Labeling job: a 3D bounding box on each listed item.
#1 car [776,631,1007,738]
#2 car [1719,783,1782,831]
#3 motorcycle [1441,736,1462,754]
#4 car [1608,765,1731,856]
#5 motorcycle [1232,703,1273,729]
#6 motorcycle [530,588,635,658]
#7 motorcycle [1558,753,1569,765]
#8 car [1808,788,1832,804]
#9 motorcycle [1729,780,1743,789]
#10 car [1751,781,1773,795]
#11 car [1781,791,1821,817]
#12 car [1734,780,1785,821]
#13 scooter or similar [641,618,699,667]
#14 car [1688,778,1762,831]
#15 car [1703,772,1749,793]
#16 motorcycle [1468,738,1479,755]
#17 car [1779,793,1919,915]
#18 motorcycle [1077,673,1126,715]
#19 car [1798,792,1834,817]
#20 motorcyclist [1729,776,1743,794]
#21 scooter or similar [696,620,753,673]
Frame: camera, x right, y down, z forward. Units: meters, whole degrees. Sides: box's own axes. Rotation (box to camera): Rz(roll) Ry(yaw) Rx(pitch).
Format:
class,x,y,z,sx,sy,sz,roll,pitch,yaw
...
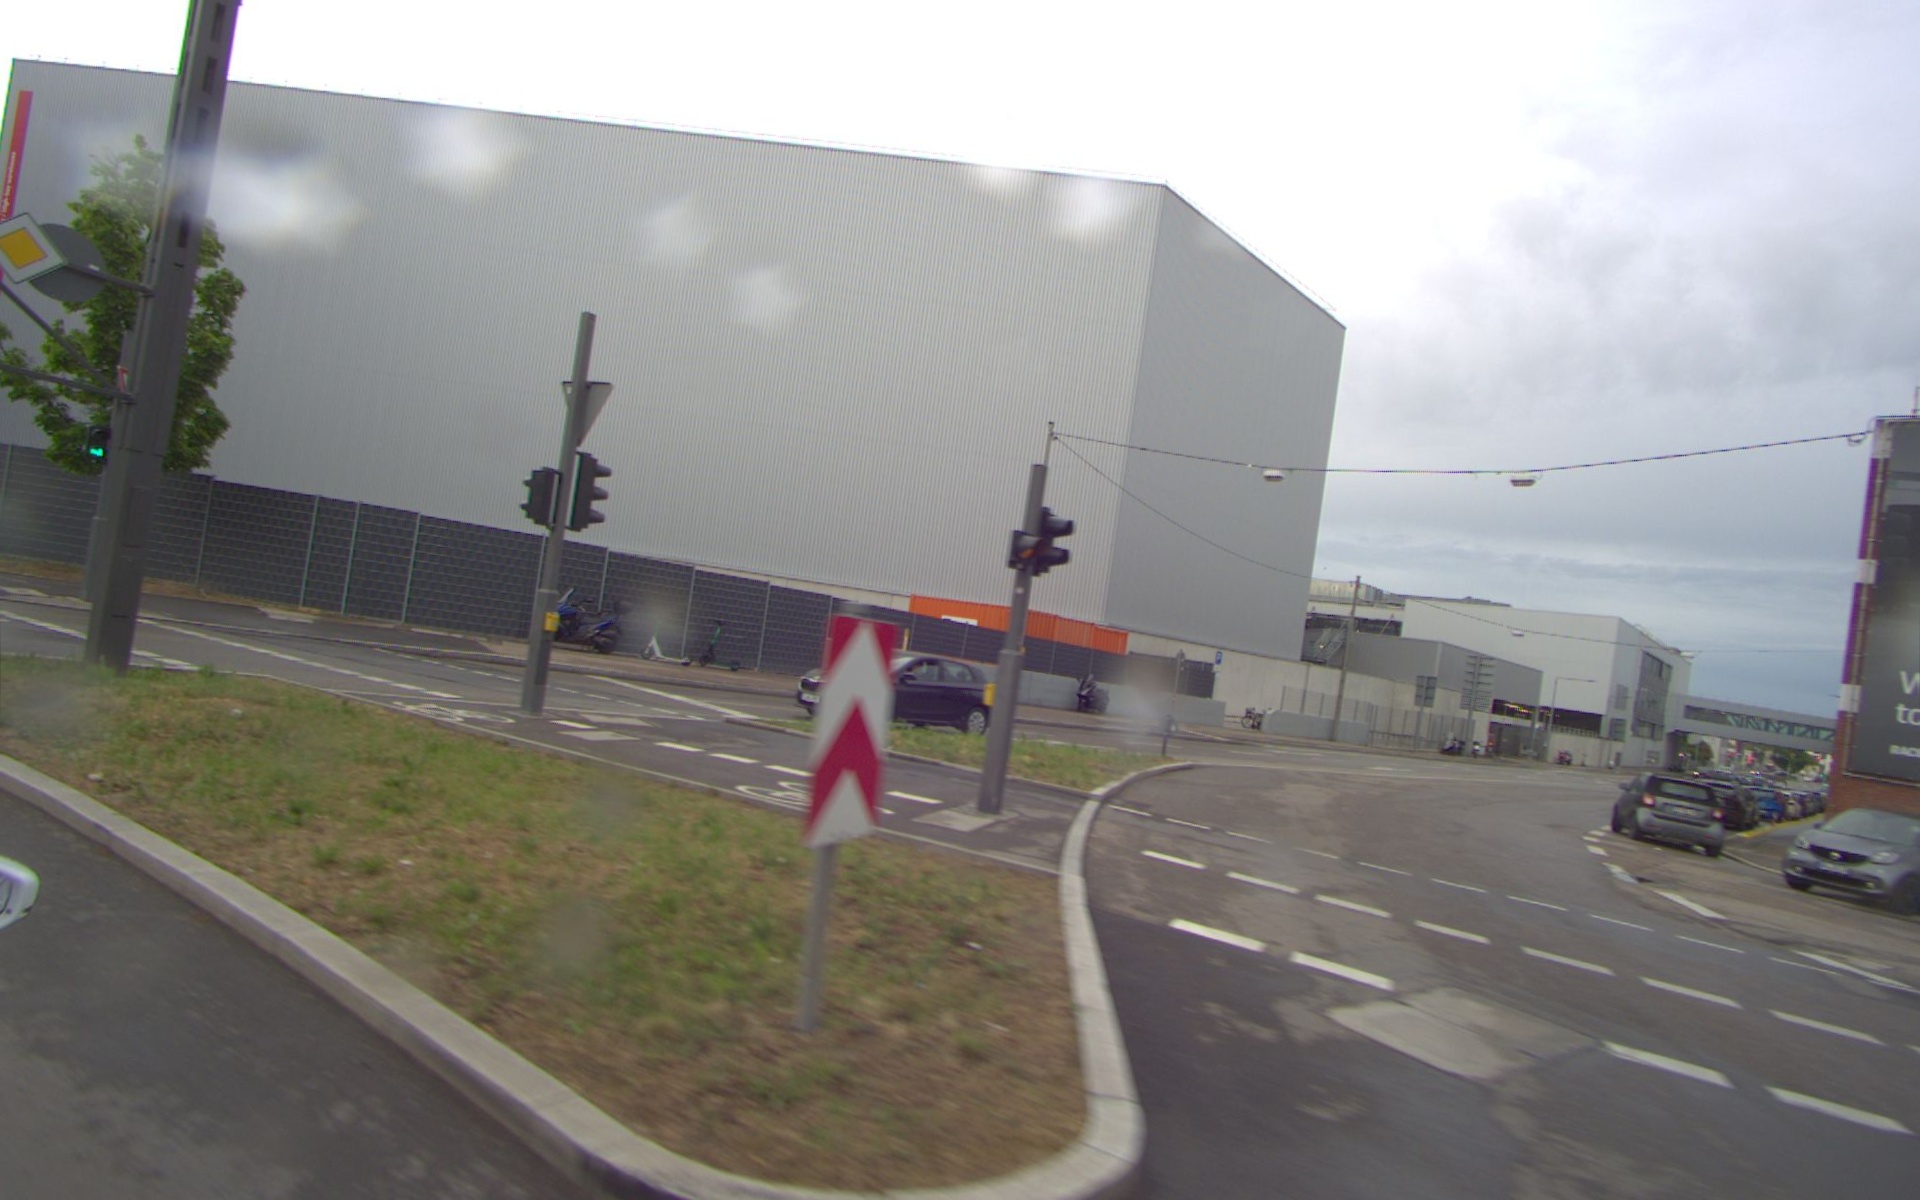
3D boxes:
class,x,y,z,sx,sy,sz,roll,pitch,yaw
car,-1.184,1.597,18.600,3.979,1.441,1.700,11,-4,-43
car,29.219,7.597,37.163,1.441,1.459,3.374,3,-5,44
motorcycle,34.851,10.268,71.341,1.917,1.087,0.559,11,-3,-43
car,15.973,4.707,22.785,1.526,1.509,2.755,9,-3,23
motorcycle,15.524,6.165,53.476,1.898,1.087,0.625,7,-2,38
motorcycle,-8.884,0.556,23.759,0.647,1.325,2.093,7,-4,43
motorcycle,58.965,15.563,98.284,0.557,1.087,1.923,7,-3,37
car,82.074,18.738,96.005,3.354,1.254,1.442,11,-6,-44
motorcycle,63.712,15.129,82.572,2.215,0.676,0.559,11,-6,-44
car,87.689,20.534,110.015,3.354,1.254,1.442,11,-6,-44
car,49.660,12.014,59.399,3.354,1.254,1.442,11,-6,-44
car,35.722,8.931,44.991,1.673,1.459,3.380,4,-5,38
scooter or similar,-7.320,1.065,25.416,1.251,1.040,0.385,10,-2,-14
car,25.519,6.794,33.508,3.447,1.459,1.442,11,-5,-44
car,86.550,20.592,113.701,3.943,1.576,1.609,6,-4,40
motorcycle,38.767,11.086,76.013,0.556,1.144,1.928,7,-3,26
car,15.377,4.192,16.359,3.201,1.520,1.620,9,-3,-18
motorcycle,5.514,3.688,39.210,0.647,1.392,2.093,7,-4,43
car,53.896,12.849,63.322,3.354,1.254,1.442,11,-6,-44
motorcyclist,63.702,15.169,82.572,1.014,1.388,0.726,10,-5,-44
scooter or similar,-6.255,1.228,26.760,1.259,1.212,0.421,11,-3,-32
